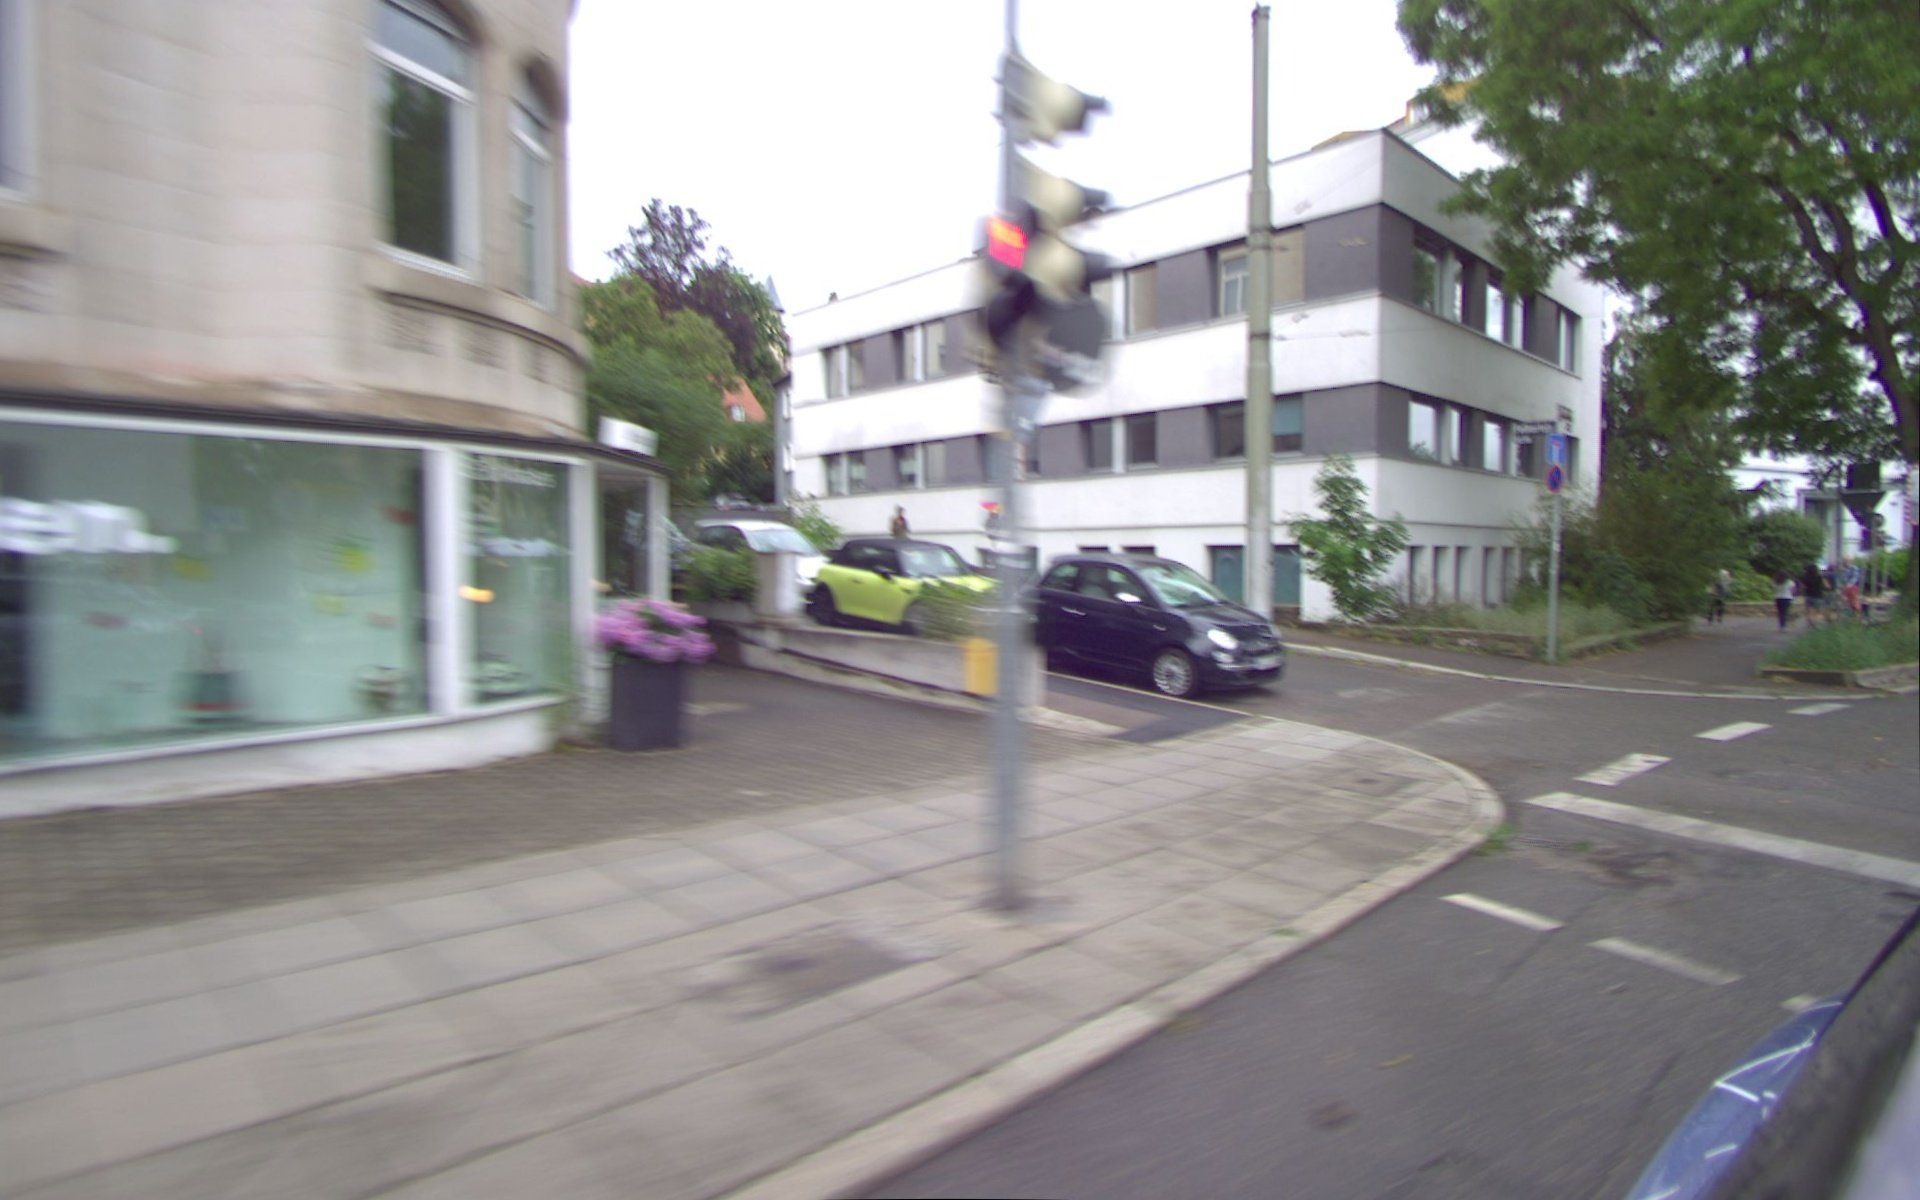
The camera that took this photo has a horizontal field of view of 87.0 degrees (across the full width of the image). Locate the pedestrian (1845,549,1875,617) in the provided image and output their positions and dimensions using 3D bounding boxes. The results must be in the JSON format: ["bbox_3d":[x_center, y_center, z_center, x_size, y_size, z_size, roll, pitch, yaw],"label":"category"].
[{"bbox_3d":[26.590,-0.521,29.885,0.542,1.946,0.903,3,4,44],"label":"pedestrian"}]

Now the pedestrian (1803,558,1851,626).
[{"bbox_3d":[20.812,-0.195,24.297,0.534,1.585,0.603,3,1,-9],"label":"pedestrian"}]

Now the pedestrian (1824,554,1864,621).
[{"bbox_3d":[22.459,-0.326,25.707,0.590,1.650,0.546,2,1,-33],"label":"pedestrian"}]

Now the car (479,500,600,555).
[{"bbox_3d":[-11.264,-1.975,26.994,1.598,1.339,3.945,-6,8,-44],"label":"car"}]

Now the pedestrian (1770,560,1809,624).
[{"bbox_3d":[20.179,-0.205,24.619,0.377,1.524,0.540,1,3,-6],"label":"pedestrian"}]

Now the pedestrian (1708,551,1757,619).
[{"bbox_3d":[20.603,-0.399,26.987,0.661,1.720,0.746,2,4,-38],"label":"pedestrian"}]

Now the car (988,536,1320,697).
[{"bbox_3d":[2.218,0.065,12.328,1.707,1.525,3.668,-1,6,-40],"label":"car"}]

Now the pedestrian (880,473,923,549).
[{"bbox_3d":[-1.347,-2.029,23.235,0.702,1.699,0.639,3,2,45],"label":"pedestrian"}]

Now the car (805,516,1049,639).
[{"bbox_3d":[-0.600,-0.425,15.174,1.707,1.525,3.668,-1,6,-41],"label":"car"}]

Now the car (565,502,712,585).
[{"bbox_3d":[-7.104,-1.323,22.189,1.597,1.524,3.894,-6,10,-41],"label":"car"}]

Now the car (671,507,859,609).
[{"bbox_3d":[-3.659,-0.870,18.635,1.598,1.524,3.766,-6,10,-44],"label":"car"}]
